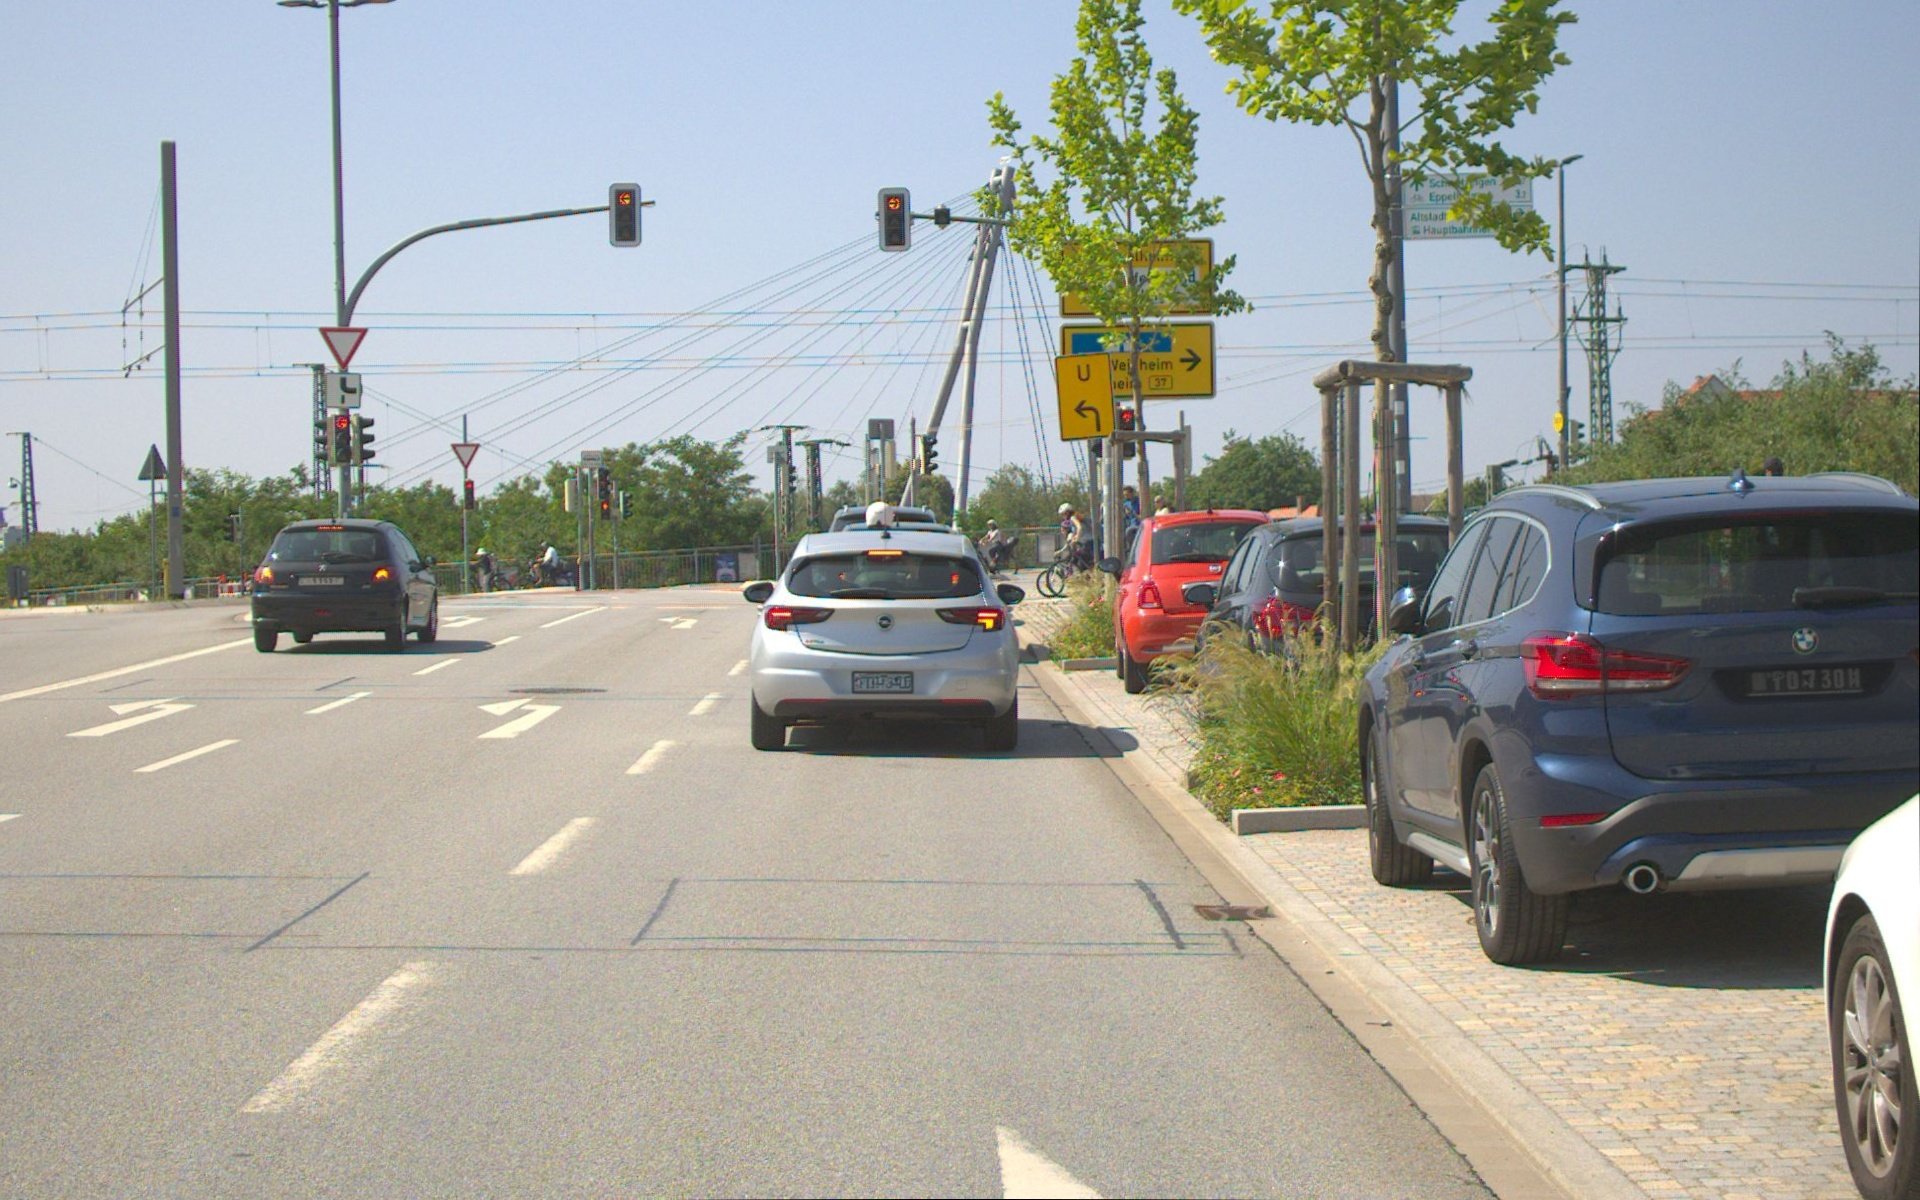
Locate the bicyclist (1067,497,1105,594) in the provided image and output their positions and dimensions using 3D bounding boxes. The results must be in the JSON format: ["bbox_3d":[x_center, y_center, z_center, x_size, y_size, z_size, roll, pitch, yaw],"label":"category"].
[{"bbox_3d":[2.150,-0.925,58.733,0.592,1.638,0.313,1,-1,-6],"label":"bicyclist"}]

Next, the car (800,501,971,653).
[{"bbox_3d":[-0.807,-0.294,38.117,1.778,1.563,4.000,-1,2,-1],"label":"car"}]

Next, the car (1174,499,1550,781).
[{"bbox_3d":[2.468,0.204,22.048,1.778,1.498,4.000,-5,1,-1],"label":"car"}]

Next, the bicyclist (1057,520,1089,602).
[{"bbox_3d":[2.290,-0.790,69.726,0.592,1.638,0.313,1,-1,-6],"label":"bicyclist"}]

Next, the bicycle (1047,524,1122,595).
[{"bbox_3d":[2.153,-0.700,59.533,1.239,1.193,0.482,1,-1,-7],"label":"bicycle"}]

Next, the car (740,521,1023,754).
[{"bbox_3d":[-0.526,0.192,23.883,1.778,1.437,4.000,-1,2,-1],"label":"car"}]

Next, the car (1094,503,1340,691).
[{"bbox_3d":[2.198,-0.053,30.355,1.778,1.498,4.000,-2,1,-1],"label":"car"}]

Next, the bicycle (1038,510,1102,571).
[{"bbox_3d":[2.235,-1.206,69.755,1.239,1.193,0.482,1,-1,-7],"label":"bicycle"}]

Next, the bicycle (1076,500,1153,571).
[{"bbox_3d":[2.641,-1.095,58.831,1.239,1.193,0.482,1,-1,-7],"label":"bicycle"}]

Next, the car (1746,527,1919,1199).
[{"bbox_3d":[2.715,0.578,5.923,1.696,1.470,4.205,-2,1,0],"label":"car"}]

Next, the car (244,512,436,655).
[{"bbox_3d":[-6.871,-0.225,38.398,1.619,1.411,3.728,-2,2,-3],"label":"car"}]

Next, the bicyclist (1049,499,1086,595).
[{"bbox_3d":[1.858,-0.918,59.460,0.592,1.638,0.313,1,-1,-6],"label":"bicyclist"}]

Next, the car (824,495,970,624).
[{"bbox_3d":[-0.808,-0.557,44.538,1.778,1.563,4.000,-1,2,-1],"label":"car"}]

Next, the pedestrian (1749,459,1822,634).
[{"bbox_3d":[7.494,-0.478,31.215,0.533,1.570,0.524,0,-1,0],"label":"pedestrian"}]

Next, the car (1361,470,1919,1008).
[{"bbox_3d":[2.594,0.380,12.431,1.822,1.611,3.611,-2,1,0],"label":"car"}]

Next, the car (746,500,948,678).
[{"bbox_3d":[-1.033,-0.150,32.696,1.778,1.563,4.000,-1,2,-1],"label":"car"}]
